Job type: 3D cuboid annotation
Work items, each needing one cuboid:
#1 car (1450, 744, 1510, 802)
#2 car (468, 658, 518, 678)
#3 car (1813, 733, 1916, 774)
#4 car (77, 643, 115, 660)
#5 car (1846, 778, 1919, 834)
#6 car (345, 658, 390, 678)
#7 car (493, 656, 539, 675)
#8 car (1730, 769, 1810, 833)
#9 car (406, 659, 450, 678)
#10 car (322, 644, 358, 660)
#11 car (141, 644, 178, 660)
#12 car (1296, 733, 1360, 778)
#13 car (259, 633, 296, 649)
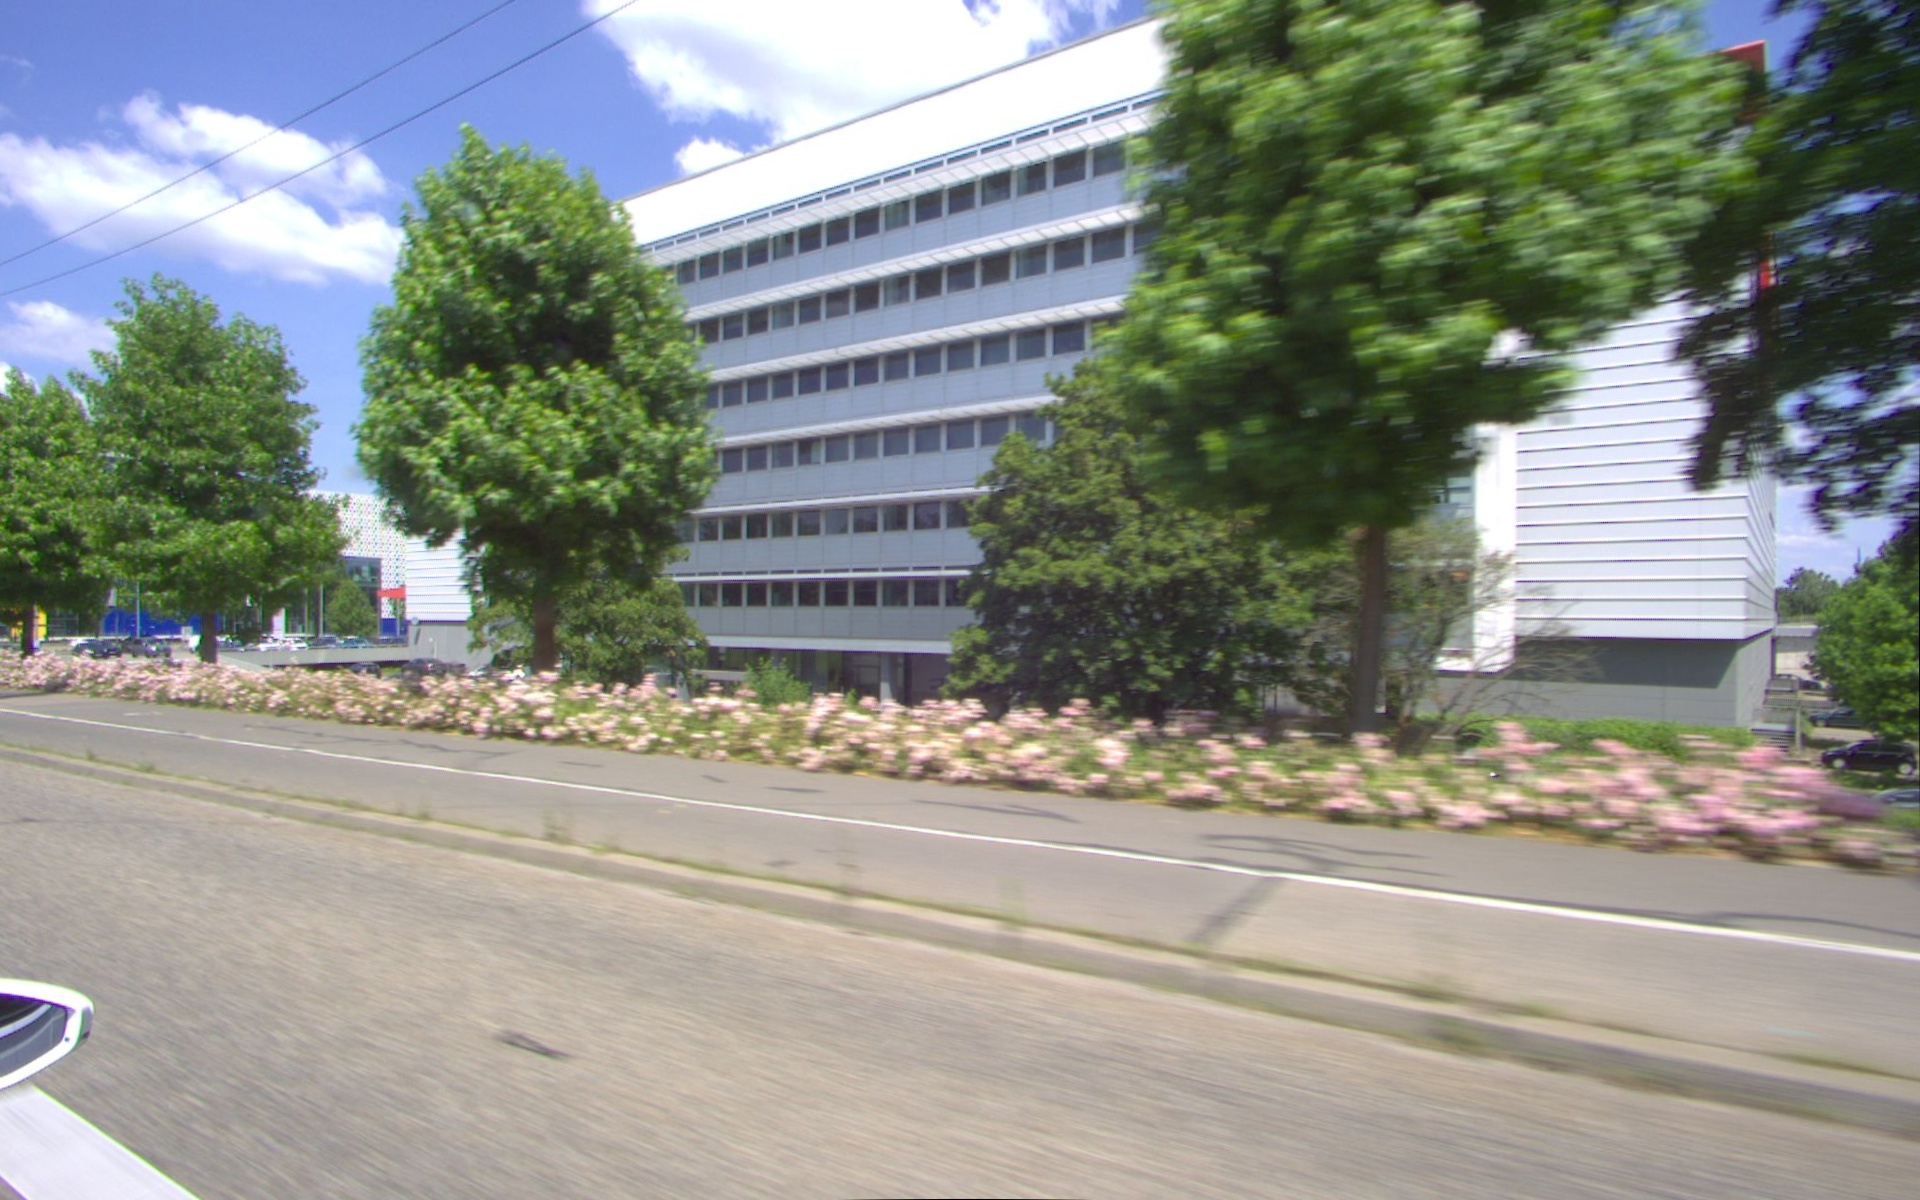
[{"bbox_3d":[18.157,5.992,34.919,1.523,1.536,3.358,0,-2,33],"label":"car"},{"bbox_3d":[-38.390,5.581,82.307,4.179,1.501,1.738,0,-2,33],"label":"car"},{"bbox_3d":[43.616,7.383,48.371,3.577,1.620,1.695,-1,-5,39],"label":"car"},{"bbox_3d":[-82.280,4.887,95.365,3.831,1.501,1.569,0,-2,31],"label":"car"},{"bbox_3d":[32.803,7.108,34.222,3.573,1.620,1.698,-1,-4,36],"label":"car"},{"bbox_3d":[-50.338,5.765,85.057,3.907,1.501,1.738,0,-2,33],"label":"car"},{"bbox_3d":[-37.710,5.552,85.055,3.907,1.501,1.738,0,-2,33],"label":"car"},{"bbox_3d":[24.959,6.155,30.931,1.572,1.360,3.358,0,-2,33],"label":"car"},{"bbox_3d":[-46.902,5.996,88.260,3.907,1.501,1.738,0,-2,33],"label":"car"},{"bbox_3d":[-64.269,5.386,103.842,3.831,1.501,1.569,0,-2,31],"label":"car"},{"bbox_3d":[-78.868,5.143,98.633,3.831,1.501,1.569,0,-2,31],"label":"car"},{"bbox_3d":[14.056,5.902,38.161,1.439,1.302,3.355,0,-2,36],"label":"car"},{"bbox_3d":[-68.345,4.075,100.329,3.831,1.501,1.569,0,-2,31],"label":"car"}]
